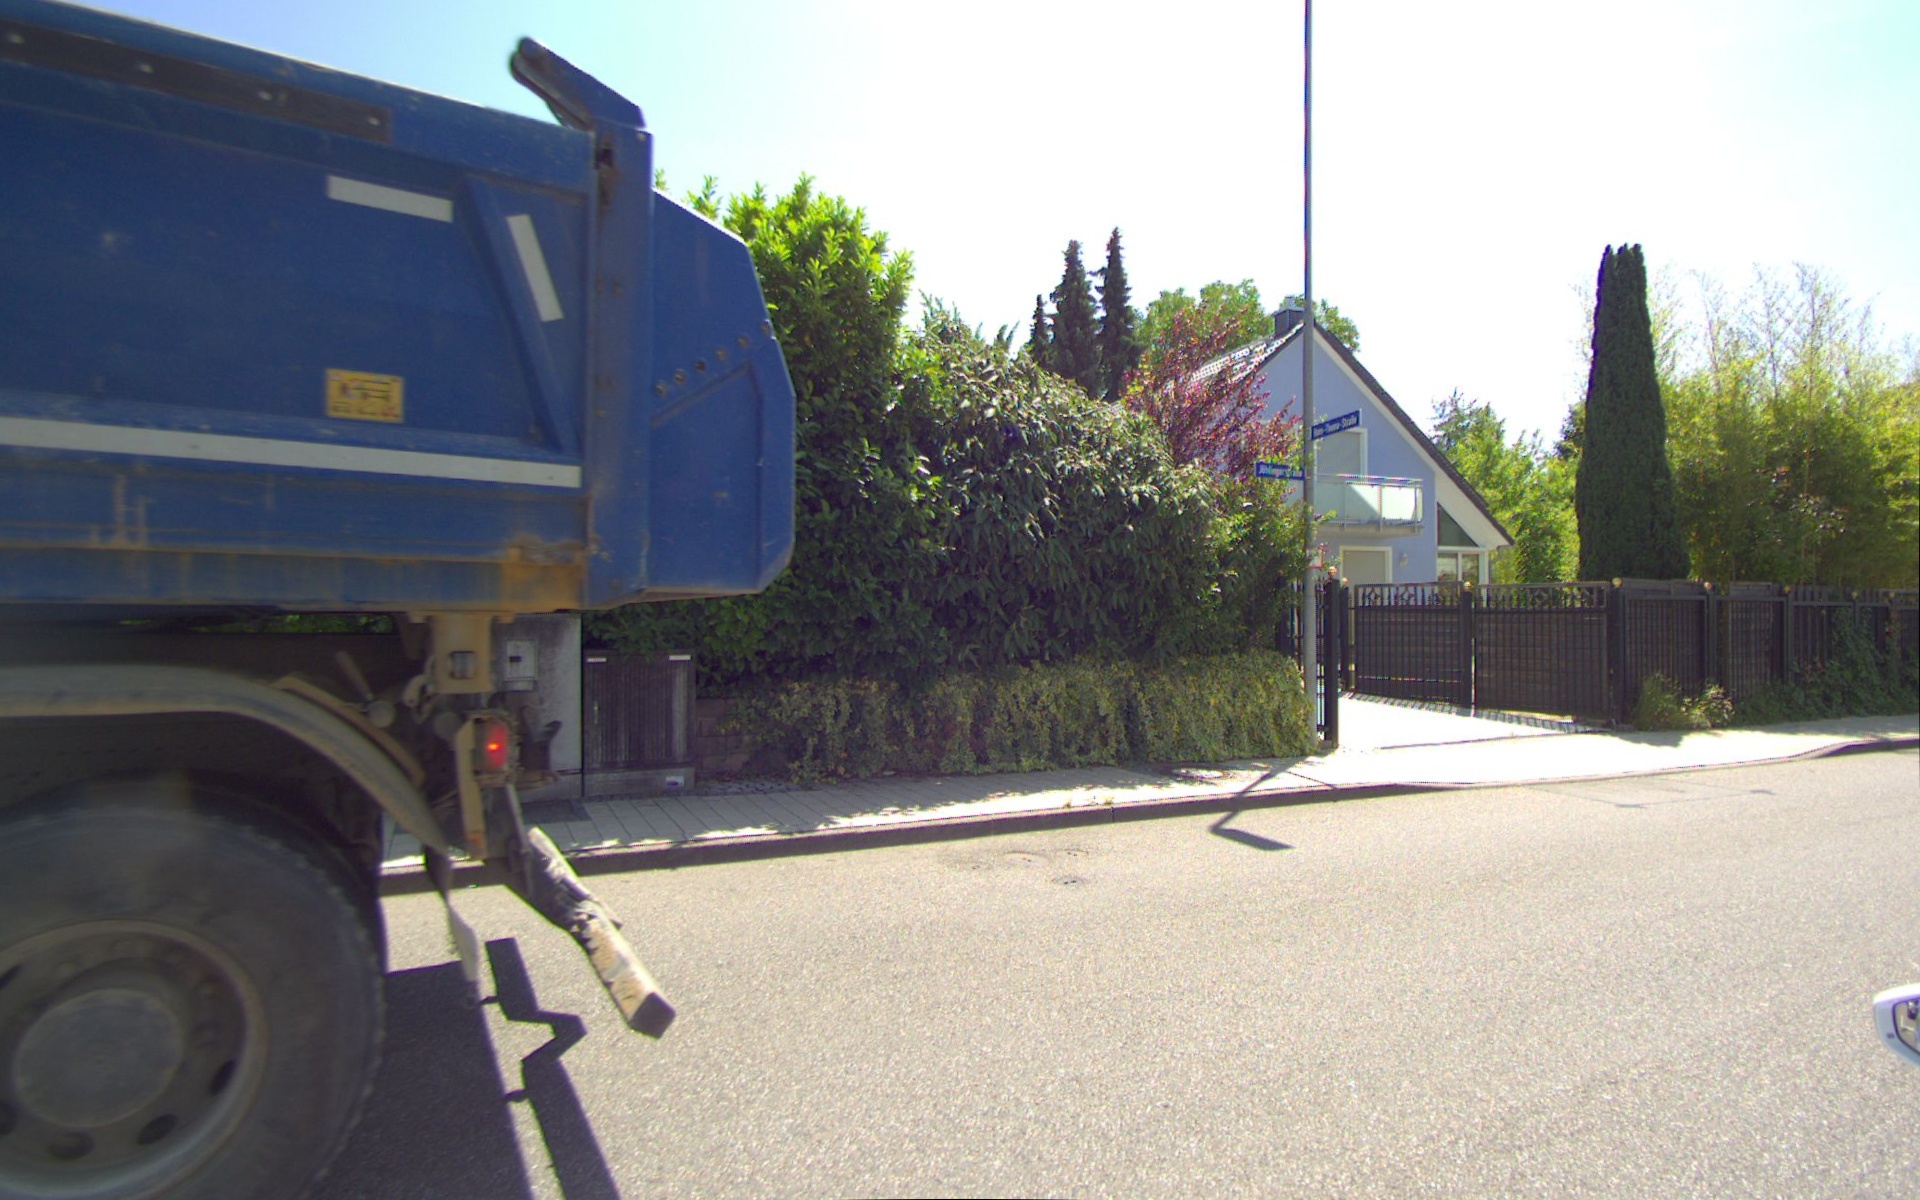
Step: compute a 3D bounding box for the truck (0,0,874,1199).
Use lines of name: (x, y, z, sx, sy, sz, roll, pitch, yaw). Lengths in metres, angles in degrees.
truck: (-4.563, -0.508, 1.623, 8.505, 3.787, 2.534, 1, -2, -26)
